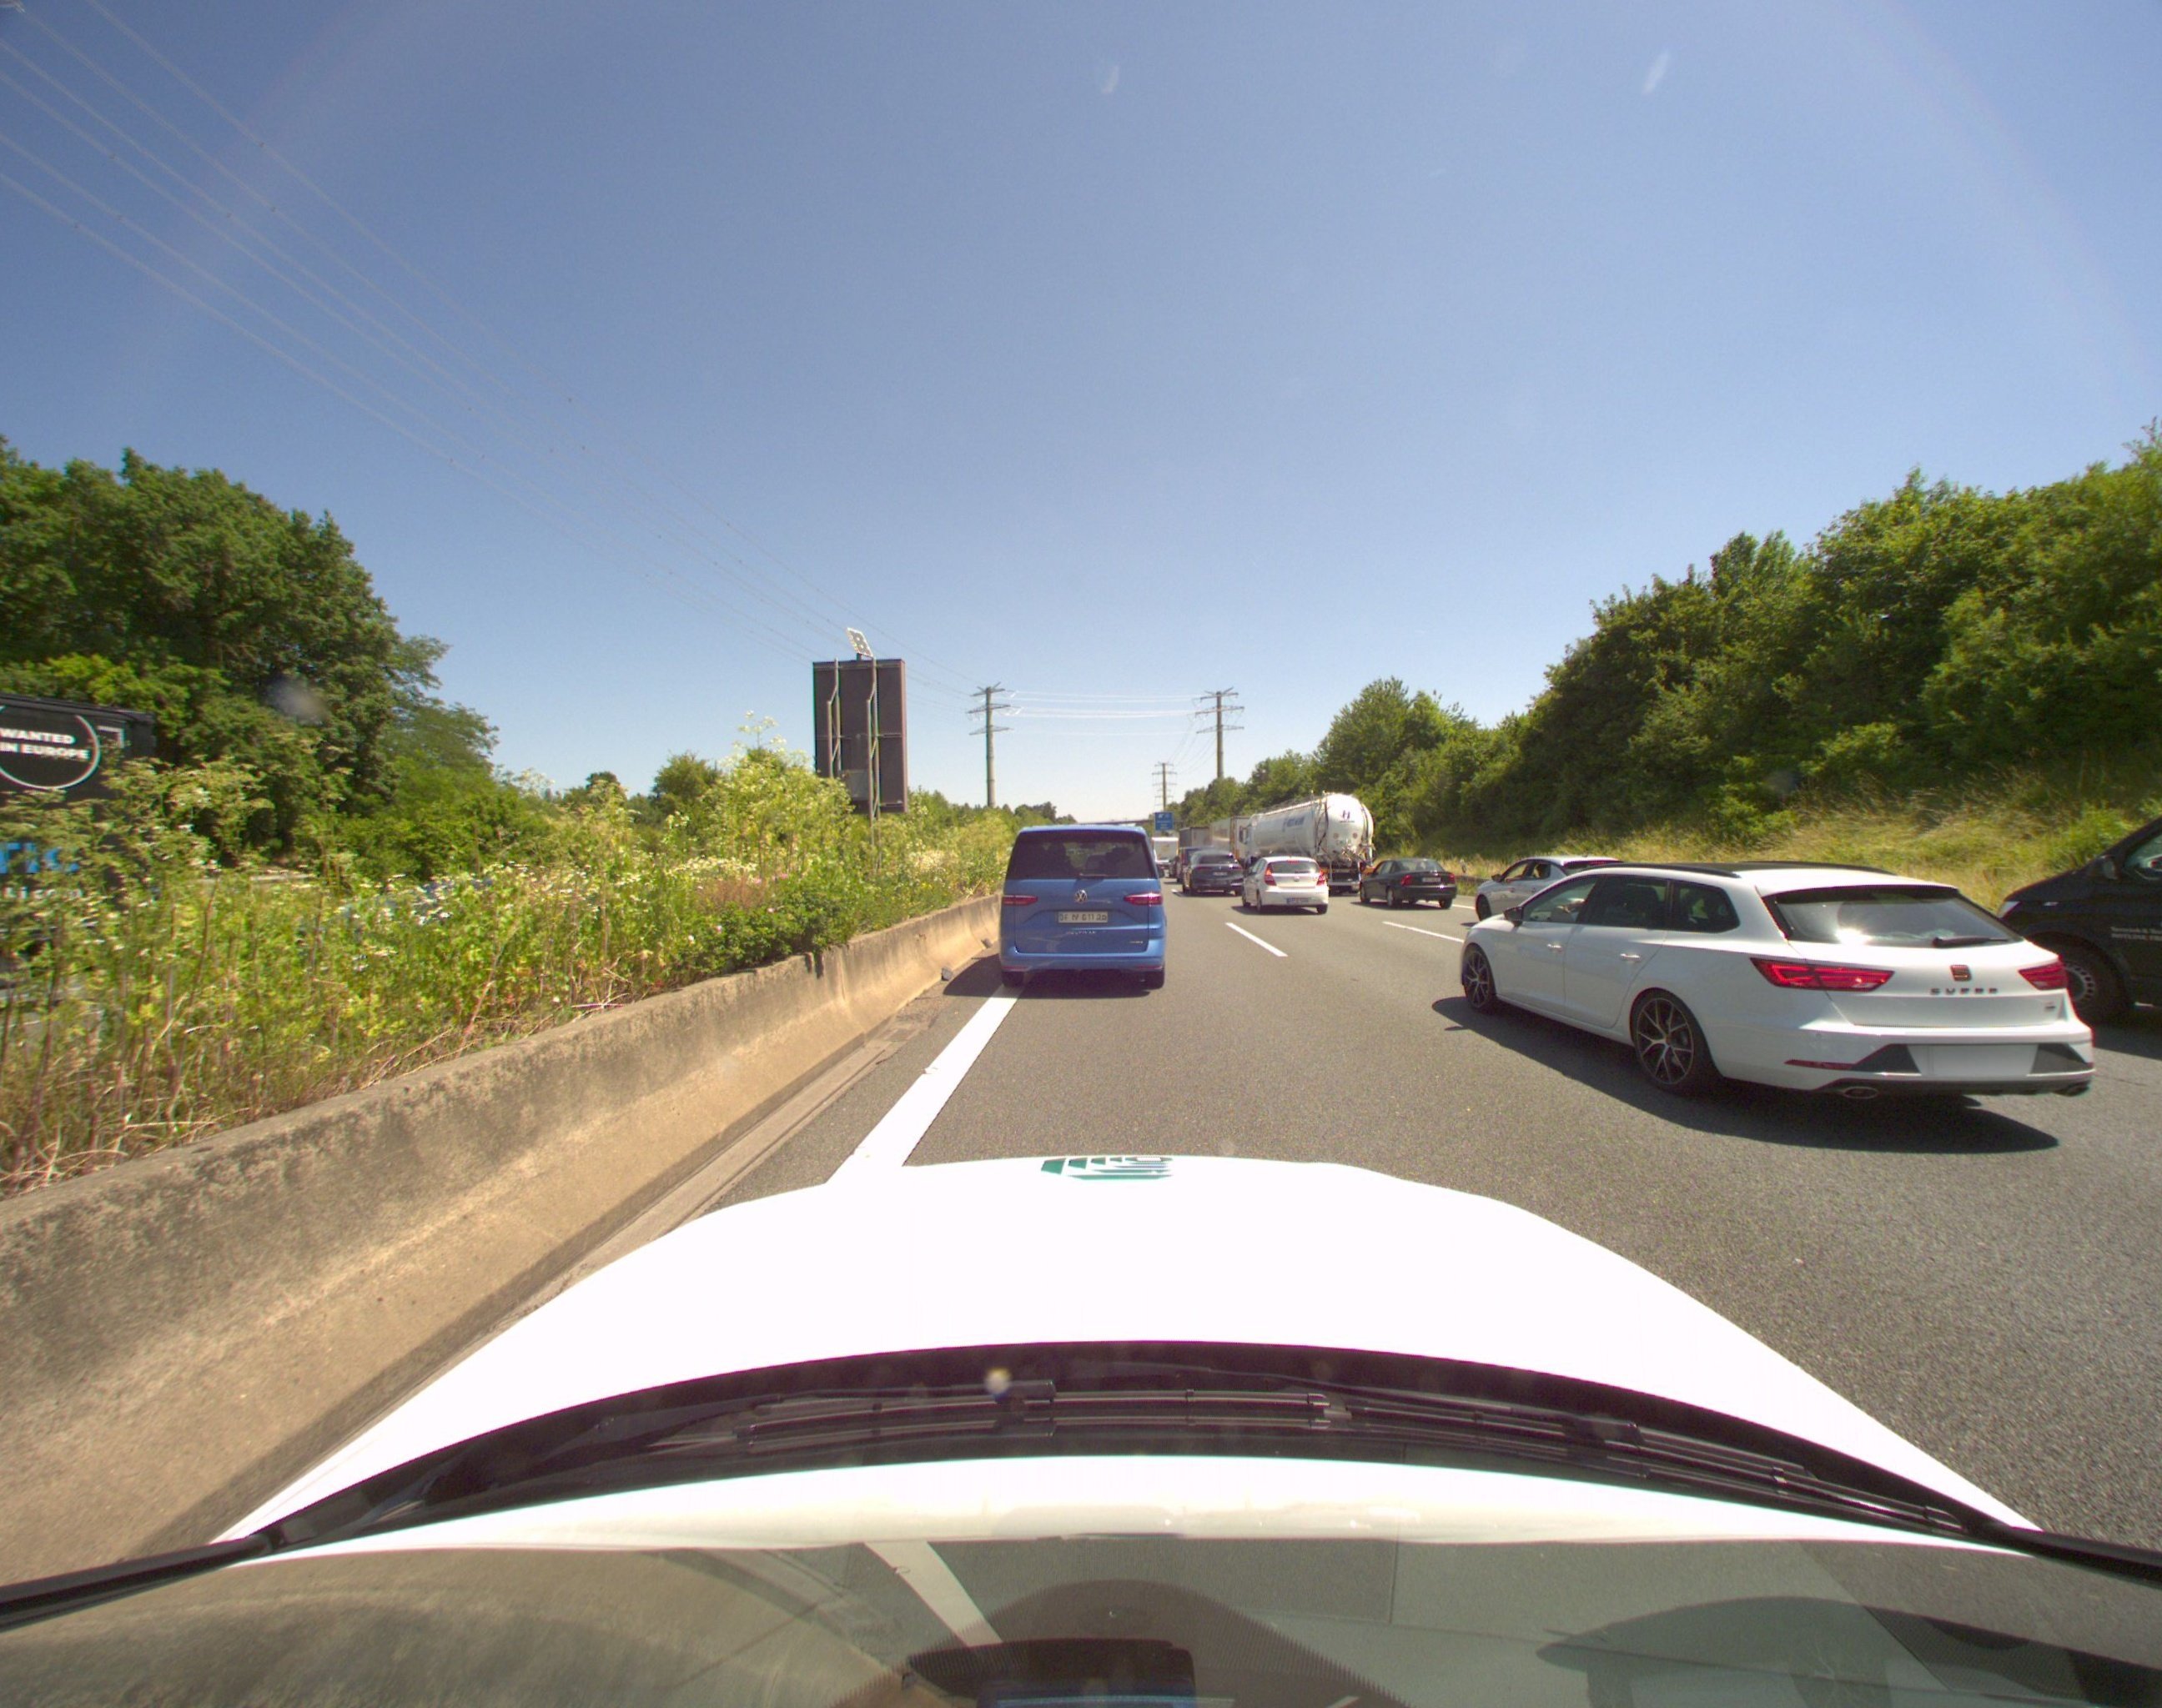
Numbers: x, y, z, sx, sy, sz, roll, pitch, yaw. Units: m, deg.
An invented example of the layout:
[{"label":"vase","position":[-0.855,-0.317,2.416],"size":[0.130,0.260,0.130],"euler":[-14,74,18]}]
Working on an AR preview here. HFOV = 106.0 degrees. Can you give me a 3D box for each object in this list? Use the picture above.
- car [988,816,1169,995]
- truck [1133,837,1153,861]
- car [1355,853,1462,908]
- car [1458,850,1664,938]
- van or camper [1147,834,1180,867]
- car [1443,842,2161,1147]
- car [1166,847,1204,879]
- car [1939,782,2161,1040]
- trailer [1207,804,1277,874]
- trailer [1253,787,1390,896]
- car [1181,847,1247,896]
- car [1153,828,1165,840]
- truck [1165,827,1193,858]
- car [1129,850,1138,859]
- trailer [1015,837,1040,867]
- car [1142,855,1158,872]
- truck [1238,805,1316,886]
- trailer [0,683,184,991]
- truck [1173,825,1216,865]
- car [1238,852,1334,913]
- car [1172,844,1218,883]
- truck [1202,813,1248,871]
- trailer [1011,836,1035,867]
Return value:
[{"label":"car","position":[0.055,0.544,10.595],"size":[1.912,1.886,4.002],"euler":[0,0,2]},{"label":"truck","position":[10.056,-0.709,132.940],"size":[2.883,3.766,10.148],"euler":[-1,-1,3]},{"label":"car","position":[9.397,0.736,23.703],"size":[1.634,1.416,3.991],"euler":[-2,-1,3]},{"label":"car","position":[9.104,0.674,15.877],"size":[1.724,1.443,4.030],"euler":[-2,0,2]},{"label":"van or camper","position":[8.020,-0.314,79.732],"size":[2.944,3.022,7.109],"euler":[-1,-1,4]},{"label":"car","position":[4.481,0.724,6.133],"size":[1.740,1.443,4.316],"euler":[-2,-1,3]},{"label":"car","position":[6.728,0.614,52.923],"size":[1.917,1.925,4.236],"euler":[-2,-1,1]},{"label":"car","position":[9.041,0.393,5.295],"size":[1.906,1.940,4.859],"euler":[-2,-1,3]},{"label":"trailer","position":[11.304,-0.937,58.596],"size":[2.901,4.469,12.158],"euler":[-2,0,2]},{"label":"trailer","position":[9.839,-0.419,34.986],"size":[2.751,3.845,11.490],"euler":[-2,0,2]},{"label":"car","position":[5.052,0.659,31.557],"size":[1.991,1.715,4.628],"euler":[-2,-1,3]},{"label":"car","position":[14.633,-3.748,152.023],"size":[1.985,2.014,4.002],"euler":[-1,-1,2]},{"label":"truck","position":[13.067,-1.472,109.735],"size":[2.883,3.766,13.354],"euler":[-1,-1,3]},{"label":"car","position":[12.636,0.147,197.747],"size":[1.986,2.126,4.001],"euler":[-1,-1,2]},{"label":"trailer","position":[-9.449,-0.275,145.695],"size":[3.309,5.047,9.597],"euler":[-1,-1,3]},{"label":"car","position":[8.708,1.172,103.047],"size":[1.828,1.998,4.004],"euler":[-2,-1,4]},{"label":"truck","position":[10.015,-0.380,42.216],"size":[2.782,3.836,5.574],"euler":[-2,0,2]},{"label":"trailer","position":[-14.842,-0.171,7.797],"size":[3.170,3.762,8.204],"euler":[-2,0,2]},{"label":"truck","position":[11.589,-0.765,84.431],"size":[2.993,3.766,15.724],"euler":[-1,-1,3]},{"label":"car","position":[5.479,0.743,22.219],"size":[1.809,1.485,4.003],"euler":[-2,-1,3]},{"label":"car","position":[6.119,0.530,44.038],"size":[1.917,1.925,4.236],"euler":[-2,-1,1]},{"label":"truck","position":[11.551,-0.912,65.793],"size":[2.901,4.469,5.144],"euler":[-2,0,2]},{"label":"trailer","position":[-9.756,-0.323,138.420],"size":[3.309,5.047,6.707],"euler":[-1,-1,2]}]
